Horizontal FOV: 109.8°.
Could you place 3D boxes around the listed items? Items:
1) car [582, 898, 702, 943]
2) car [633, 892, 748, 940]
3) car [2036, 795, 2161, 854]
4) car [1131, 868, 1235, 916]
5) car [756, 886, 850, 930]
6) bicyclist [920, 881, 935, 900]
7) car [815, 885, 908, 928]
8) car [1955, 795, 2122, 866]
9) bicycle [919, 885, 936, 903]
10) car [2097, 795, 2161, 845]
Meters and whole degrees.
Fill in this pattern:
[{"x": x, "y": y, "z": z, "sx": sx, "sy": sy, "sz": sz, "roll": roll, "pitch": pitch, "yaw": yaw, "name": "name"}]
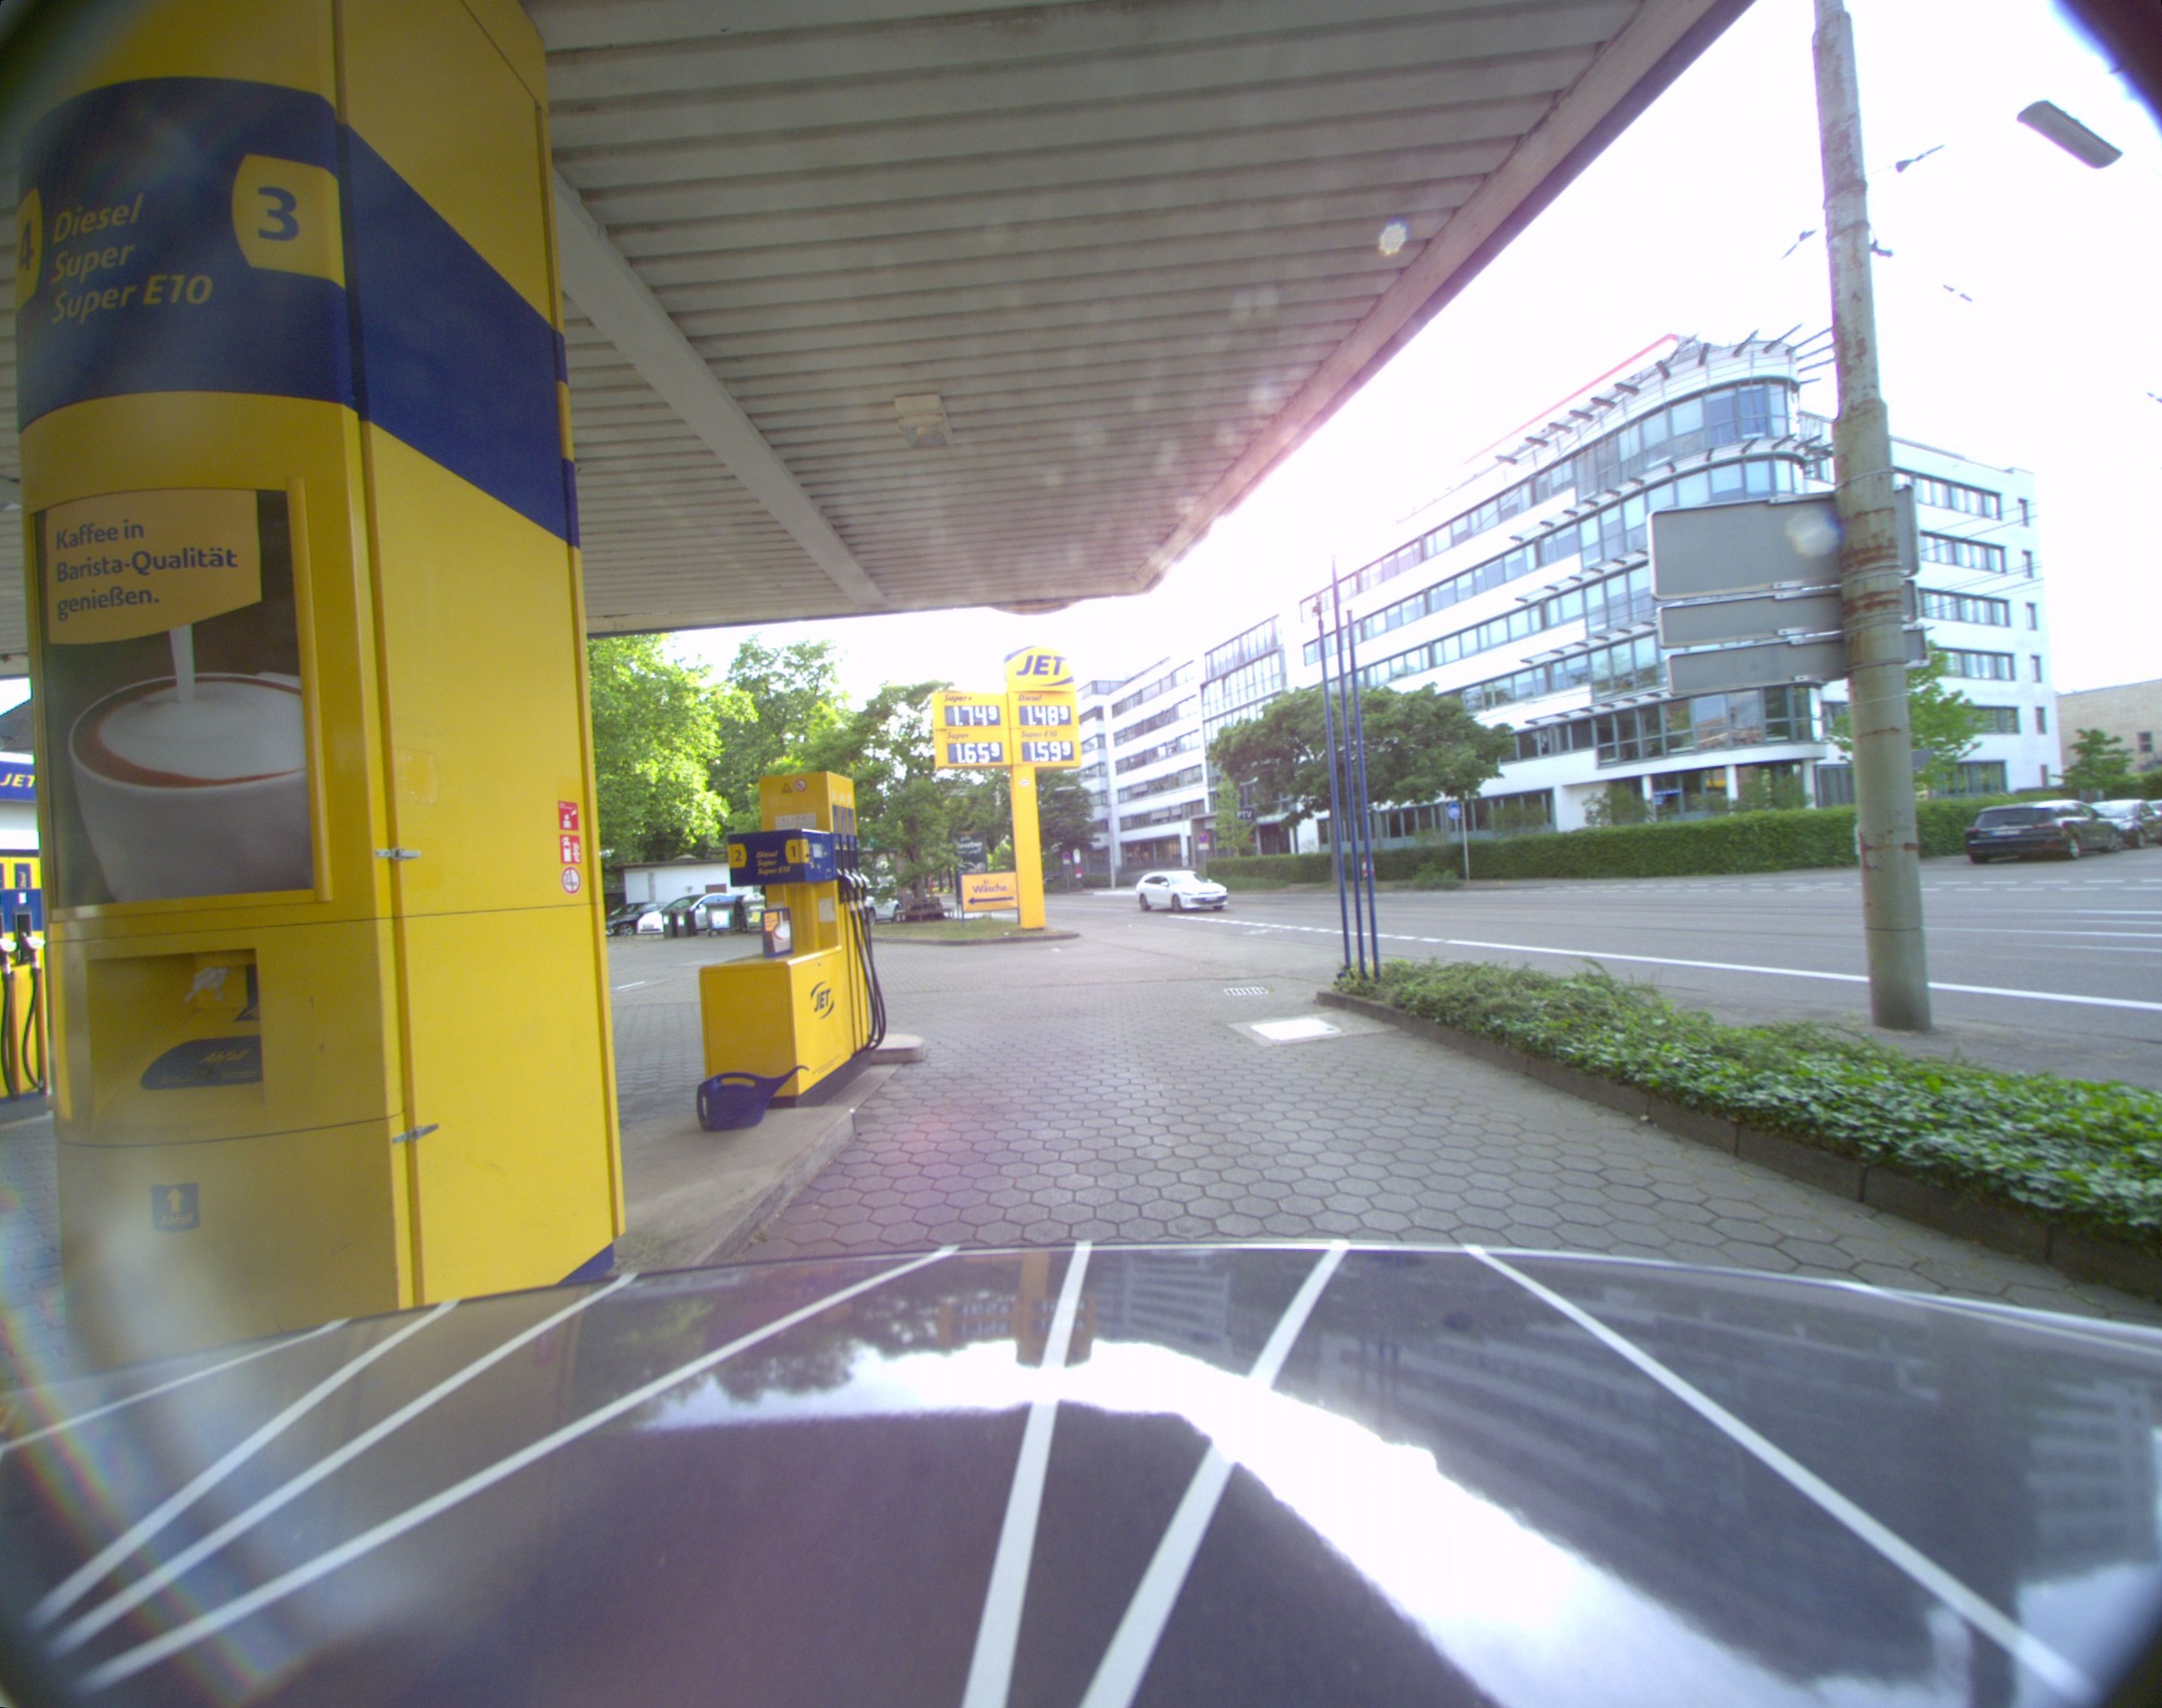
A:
[{"x": -17.534, "y": 2.622, "z": 30.598, "sx": 1.823, "sy": 1.426, "sz": 4.200, "roll": -4, "pitch": -2, "yaw": 10, "name": "car"}, {"x": -15.389, "y": 2.403, "z": 30.244, "sx": 1.823, "sy": 1.575, "sz": 4.200, "roll": -4, "pitch": -2, "yaw": 10, "name": "car"}, {"x": 32.577, "y": -0.961, "z": 24.059, "sx": 4.201, "sy": 1.568, "sz": 1.820, "roll": -4, "pitch": -1, "yaw": -24, "name": "car"}, {"x": 3.730, "y": 1.397, "z": 28.828, "sx": 1.865, "sy": 1.500, "sz": 4.821, "roll": -5, "pitch": 0, "yaw": -19, "name": "car"}, {"x": -11.746, "y": 2.257, "z": 32.455, "sx": 1.823, "sy": 1.575, "sz": 4.200, "roll": -4, "pitch": -2, "yaw": 10, "name": "car"}, {"x": -12.058, "y": 2.854, "z": 59.605, "sx": 0.854, "sy": 1.415, "sz": 1.036, "roll": -5, "pitch": 2, "yaw": -22, "name": "bicyclist"}, {"x": -8.656, "y": 2.039, "z": 30.368, "sx": 1.823, "sy": 1.449, "sz": 4.200, "roll": -4, "pitch": -2, "yaw": 10, "name": "car"}, {"x": 27.419, "y": -0.672, "z": 21.749, "sx": 4.397, "sy": 1.678, "sz": 1.820, "roll": -4, "pitch": -1, "yaw": -24, "name": "car"}, {"x": -12.051, "y": 3.133, "z": 59.613, "sx": 0.854, "sy": 1.232, "sz": 1.879, "roll": -5, "pitch": 1, "yaw": -22, "name": "bicycle"}, {"x": 37.106, "y": -1.254, "z": 26.008, "sx": 4.201, "sy": 1.568, "sz": 1.820, "roll": -4, "pitch": -1, "yaw": -24, "name": "car"}]
